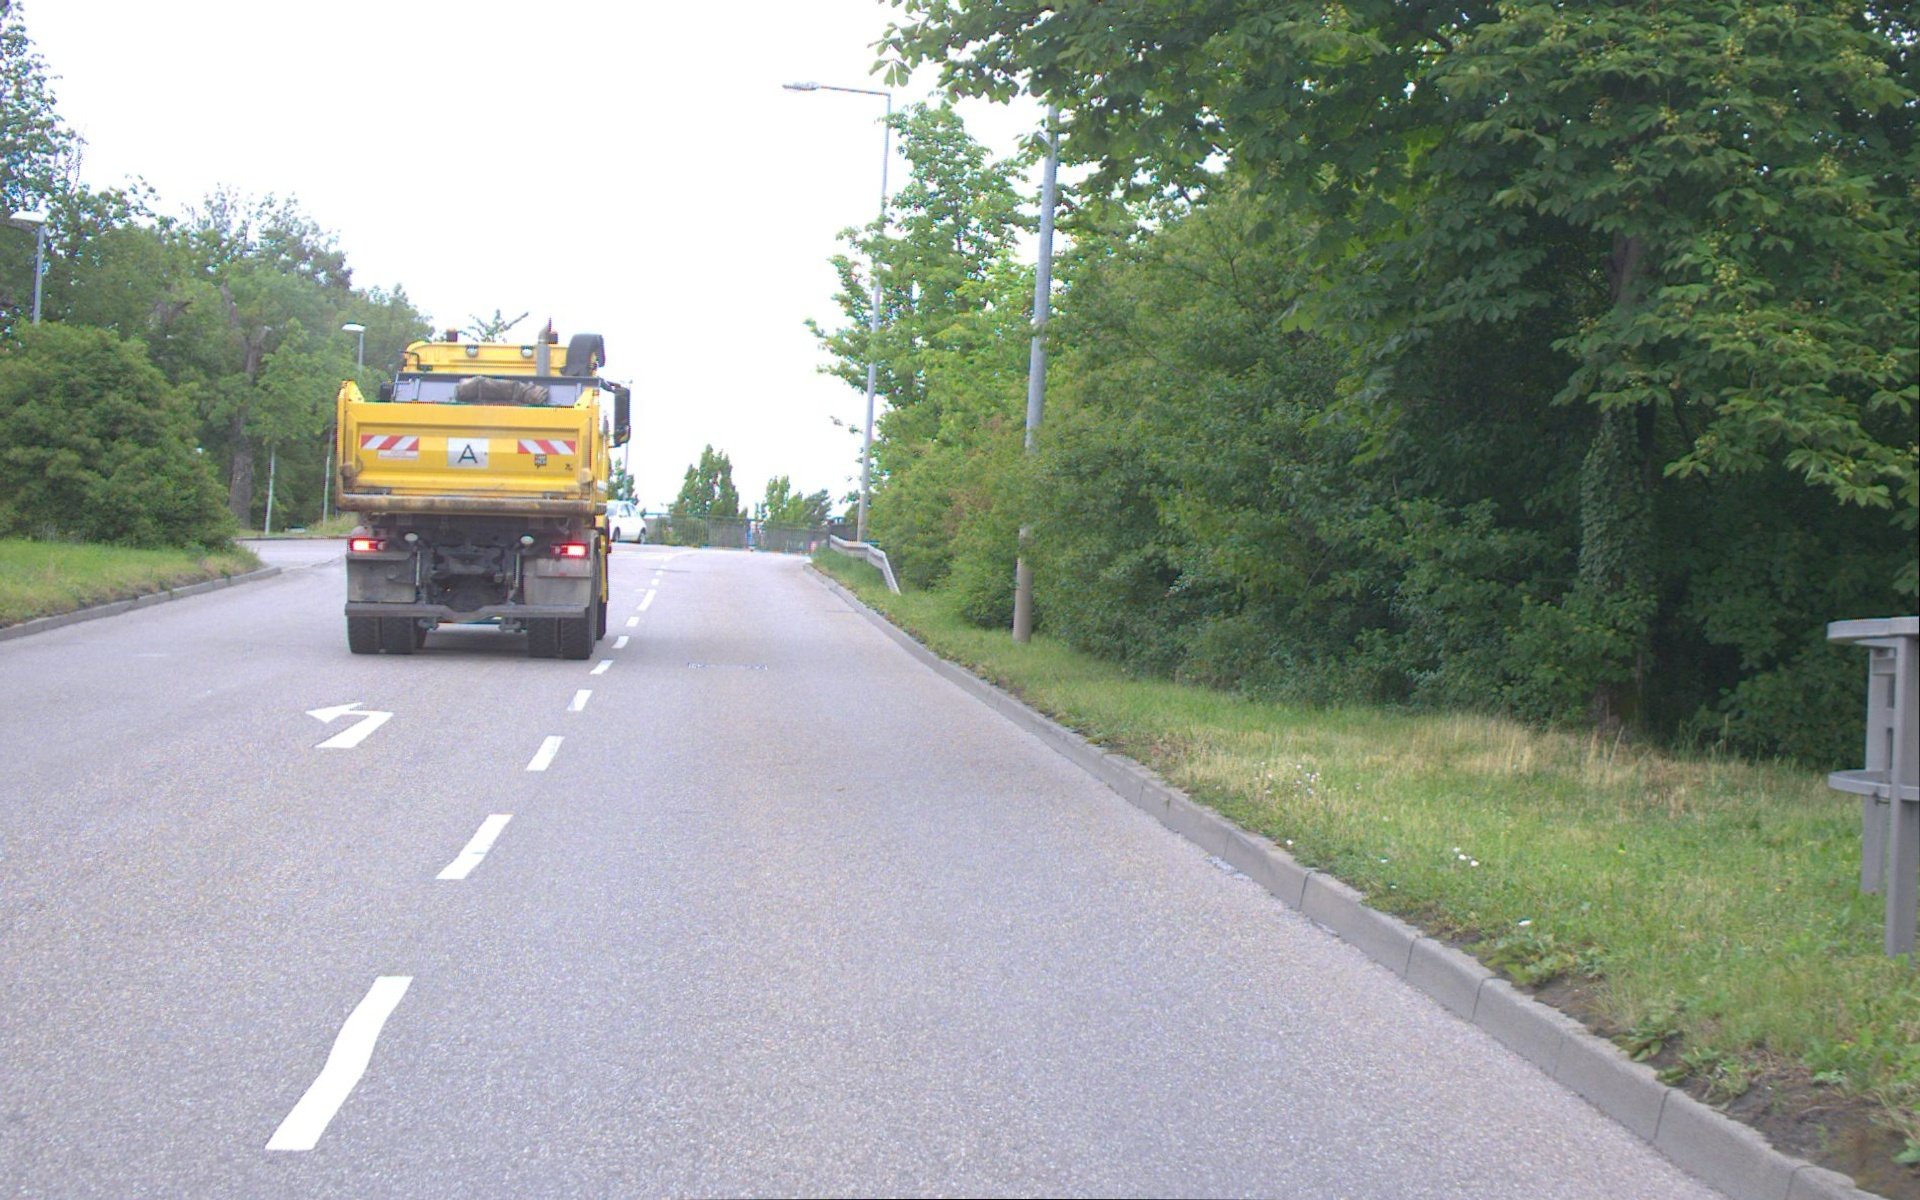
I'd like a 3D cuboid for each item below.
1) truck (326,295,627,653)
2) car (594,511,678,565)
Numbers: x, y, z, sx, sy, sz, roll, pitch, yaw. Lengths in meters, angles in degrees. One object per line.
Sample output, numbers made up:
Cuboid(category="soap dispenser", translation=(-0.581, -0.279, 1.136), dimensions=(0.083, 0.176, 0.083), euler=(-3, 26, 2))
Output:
Cuboid(category="truck", translation=(-5.126, -1.355, 37.728), dimensions=(2.764, 3.471, 8.131), euler=(1, 2, -5))
Cuboid(category="car", translation=(-10.541, -2.002, 112.088), dimensions=(1.994, 1.634, 3.999), euler=(3, 1, 5))
